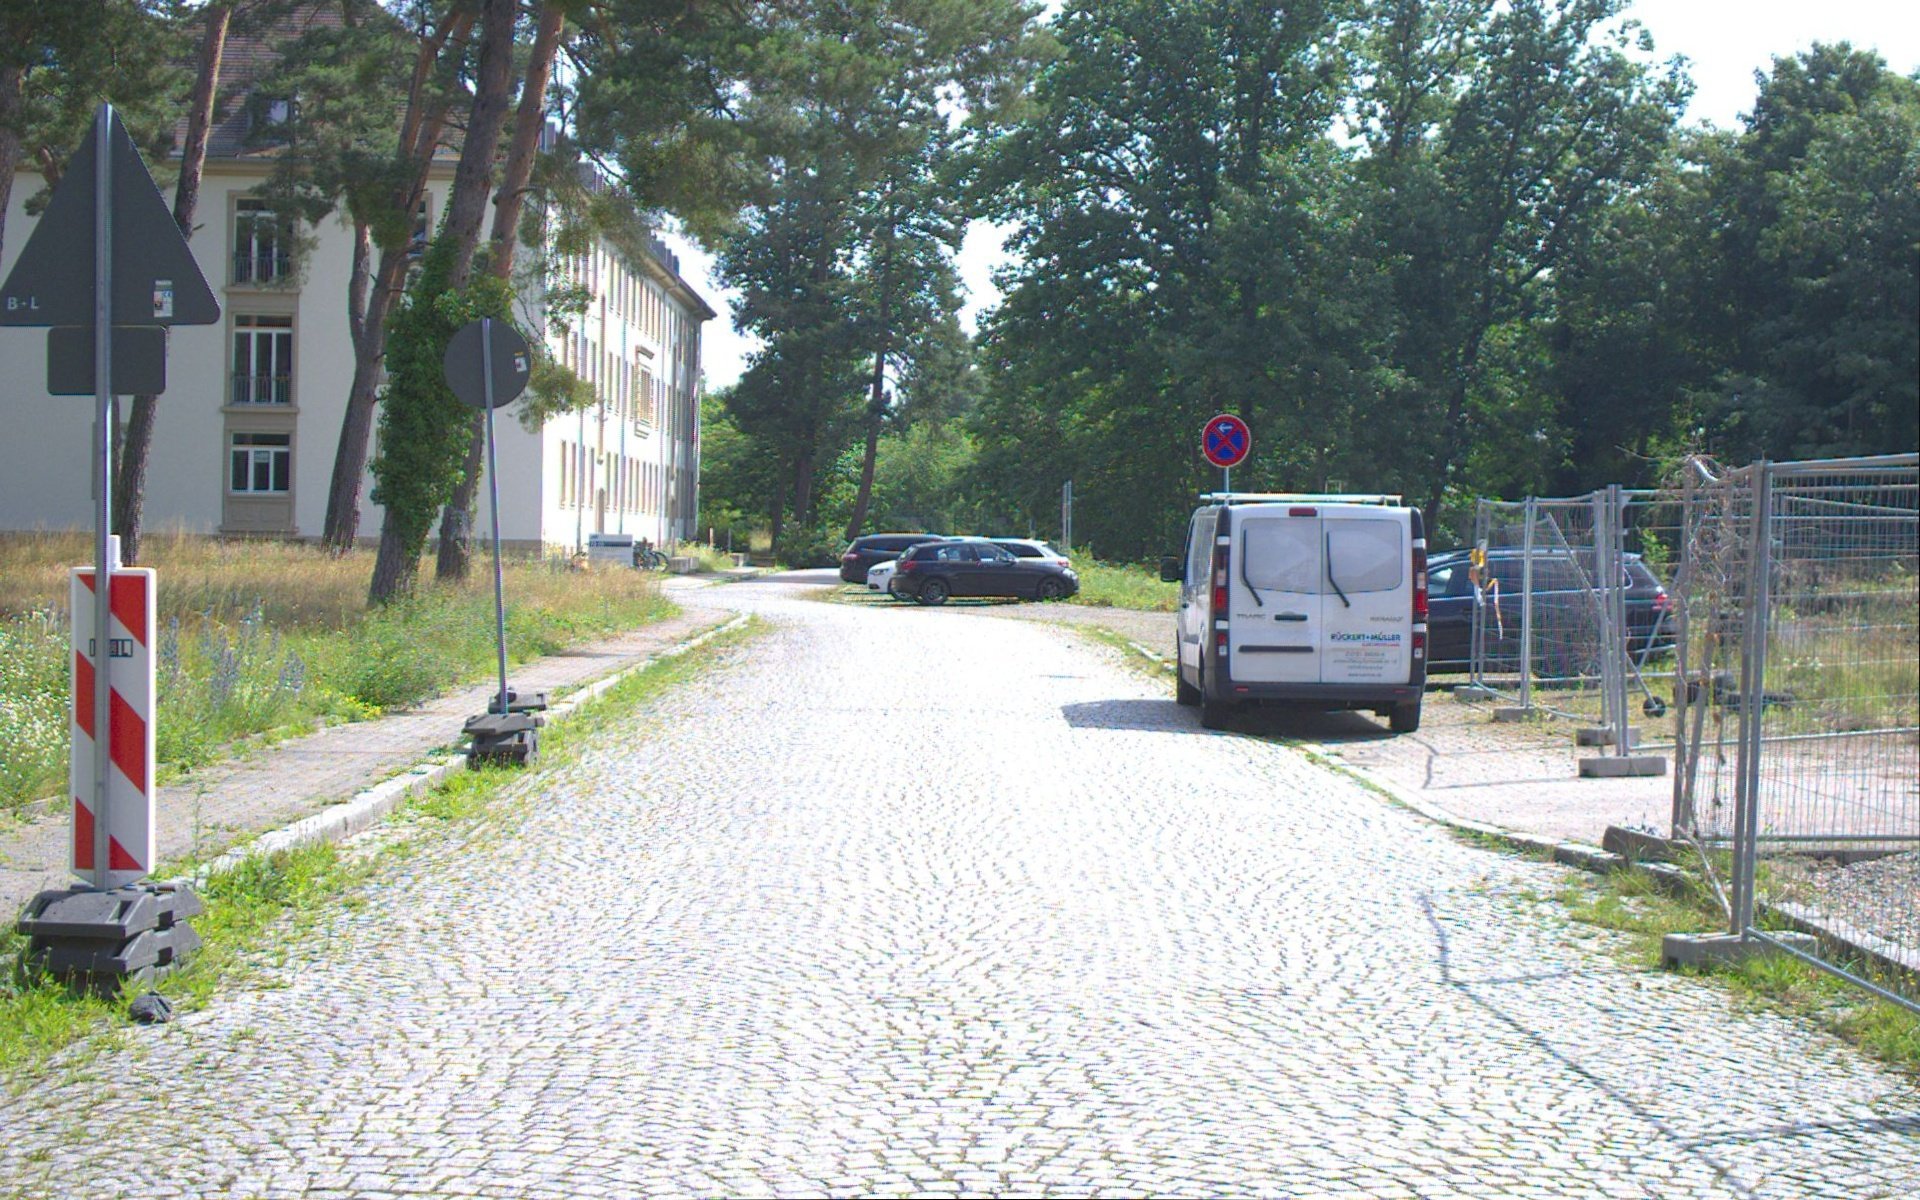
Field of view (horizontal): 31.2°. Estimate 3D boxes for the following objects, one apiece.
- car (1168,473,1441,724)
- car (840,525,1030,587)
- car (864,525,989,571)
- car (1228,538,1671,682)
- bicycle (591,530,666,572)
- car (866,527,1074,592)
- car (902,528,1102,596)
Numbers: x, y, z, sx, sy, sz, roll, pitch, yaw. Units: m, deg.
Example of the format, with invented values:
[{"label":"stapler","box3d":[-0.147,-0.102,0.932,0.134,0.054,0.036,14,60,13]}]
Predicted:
[{"label":"car","box3d":[3.007,-0.059,31.117,1.914,2.046,5.679,1,1,0]},{"label":"car","box3d":[-0.669,-1.132,88.963,4.852,1.547,1.880,0,0,-2]},{"label":"car","box3d":[-1.125,-1.778,117.087,4.187,1.538,1.820,0,0,1]},{"label":"car","box3d":[5.244,0.087,37.142,4.453,1.470,1.746,-1,1,-4]},{"label":"bicycle","box3d":[-10.212,-1.518,105.984,2.222,1.256,0.623,1,1,2]},{"label":"car","box3d":[0.210,-0.975,81.615,4.861,1.467,1.875,0,2,-2]},{"label":"car","box3d":[0.941,-0.882,78.637,4.323,1.495,1.830,-1,2,-8]}]
